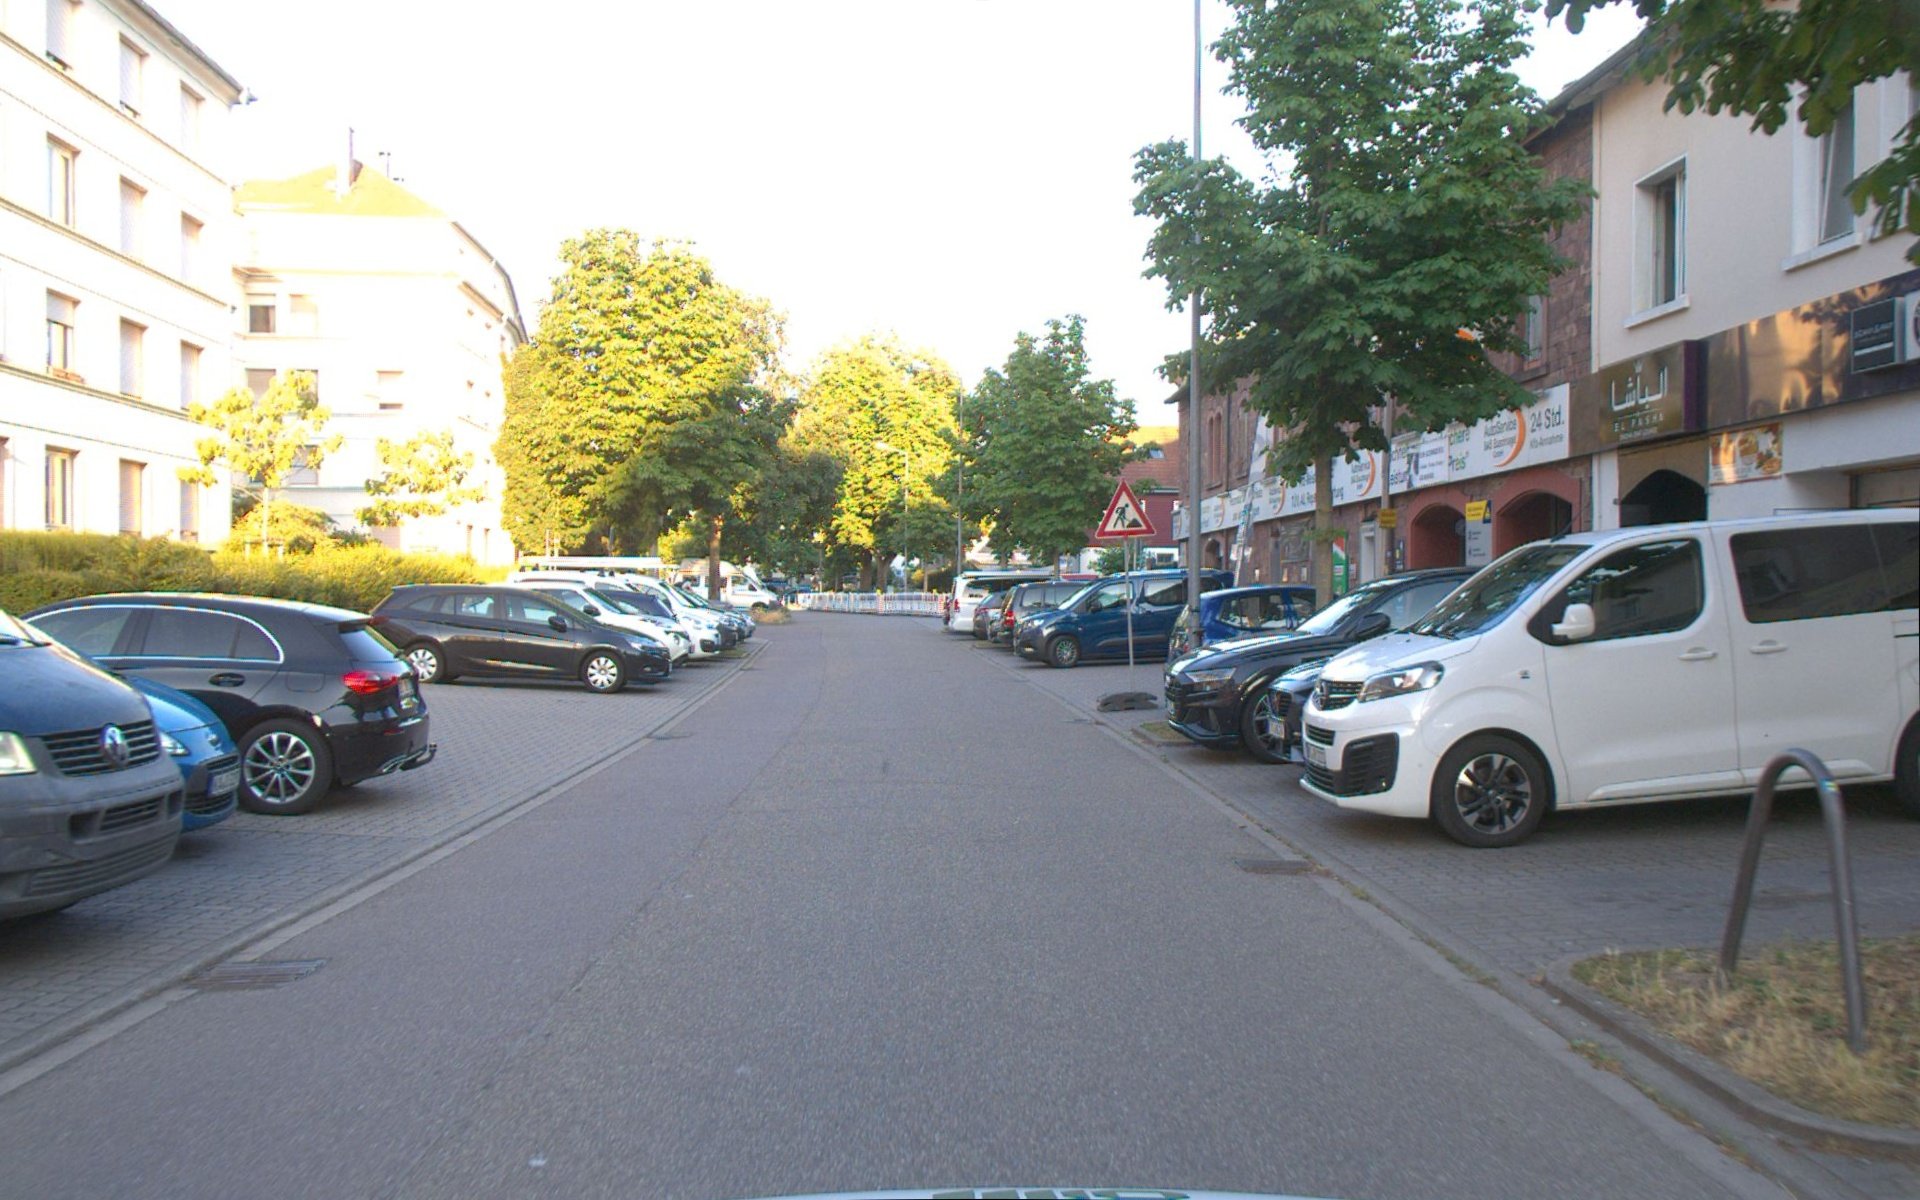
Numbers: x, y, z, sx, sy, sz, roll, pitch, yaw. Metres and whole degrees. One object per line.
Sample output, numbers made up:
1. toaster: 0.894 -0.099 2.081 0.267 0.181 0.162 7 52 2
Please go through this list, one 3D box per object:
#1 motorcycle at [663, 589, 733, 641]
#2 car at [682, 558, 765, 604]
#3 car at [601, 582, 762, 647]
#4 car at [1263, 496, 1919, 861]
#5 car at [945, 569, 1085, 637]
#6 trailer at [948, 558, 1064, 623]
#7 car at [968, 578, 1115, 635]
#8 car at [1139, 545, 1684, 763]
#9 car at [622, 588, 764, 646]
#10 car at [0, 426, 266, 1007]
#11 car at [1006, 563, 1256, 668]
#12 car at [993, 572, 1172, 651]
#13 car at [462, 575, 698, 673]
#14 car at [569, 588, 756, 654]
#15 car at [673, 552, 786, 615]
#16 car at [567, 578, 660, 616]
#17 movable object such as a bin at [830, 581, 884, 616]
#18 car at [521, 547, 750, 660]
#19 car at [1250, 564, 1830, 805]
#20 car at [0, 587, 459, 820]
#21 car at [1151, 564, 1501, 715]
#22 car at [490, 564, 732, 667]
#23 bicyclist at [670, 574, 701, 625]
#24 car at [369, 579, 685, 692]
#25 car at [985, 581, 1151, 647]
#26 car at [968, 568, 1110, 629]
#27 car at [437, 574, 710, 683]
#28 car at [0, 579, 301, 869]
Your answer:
1. motorcycle: -7.431 0.421 46.996 1.949 1.461 0.720 0 0 -9
2. car: -12.986 -1.039 90.562 4.422 2.473 1.995 0 0 -11
3. car: -7.187 0.364 42.924 3.906 1.611 1.728 0 0 -2
4. car: 4.499 0.424 10.913 4.495 1.894 2.011 -5 0 -1
5. car: 1.585 0.090 48.712 3.909 1.937 1.998 0 0 -5
6. trailer: 1.576 -0.341 58.096 3.908 2.226 1.998 0 0 -4
7. car: 2.231 0.186 45.900 3.908 1.536 1.775 0 0 -4
8. car: 4.179 0.474 15.869 4.600 1.659 2.000 -4 1 -1
9. car: -7.292 0.453 45.433 3.638 1.532 1.689 0 0 -2
10. car: -5.744 0.400 6.979 4.754 2.091 2.000 0 0 1
11. car: 3.408 0.283 33.478 4.693 1.784 2.016 -3 1 -4
12. car: 2.845 0.256 38.918 3.909 1.647 1.893 -3 0 -5
13. car: -6.901 0.420 30.378 3.909 1.510 1.754 4 0 -4
14. car: -7.269 0.496 40.719 4.239 1.430 1.851 2 0 -2
15. car: -9.908 -0.703 71.441 4.637 2.614 1.999 0 0 -3
16. car: -17.750 -0.162 84.905 4.590 1.906 1.995 0 0 -11
17. movable object such as a bin: -7.253 -0.116 116.102 2.587 2.445 5.171 0 0 -18
18. car: -6.886 0.056 35.439 4.420 2.106 2.000 3 1 0
19. car: 4.483 0.621 13.237 3.907 1.522 1.892 -4 0 -1
20. car: -5.860 0.682 11.810 4.059 1.441 1.736 2 0 -7
21. car: 4.531 0.469 20.867 3.908 1.572 1.844 -4 0 -3
22. car: -6.814 0.293 32.665 4.332 1.833 1.943 2 0 -1
23. bicyclist: -9.506 -0.012 57.285 0.829 1.756 0.792 0 0 -32
24. car: -6.489 0.527 25.192 4.322 1.477 1.826 3 0 -5
25. car: 2.676 0.353 41.379 3.871 1.592 1.818 0 0 -8
26. car: 2.404 -0.041 51.283 4.216 1.831 1.903 0 0 -4
27. car: -6.426 0.462 27.868 4.159 1.649 1.812 2 1 -3
28. car: -6.069 0.630 9.578 3.808 1.519 1.652 2 0 -5
